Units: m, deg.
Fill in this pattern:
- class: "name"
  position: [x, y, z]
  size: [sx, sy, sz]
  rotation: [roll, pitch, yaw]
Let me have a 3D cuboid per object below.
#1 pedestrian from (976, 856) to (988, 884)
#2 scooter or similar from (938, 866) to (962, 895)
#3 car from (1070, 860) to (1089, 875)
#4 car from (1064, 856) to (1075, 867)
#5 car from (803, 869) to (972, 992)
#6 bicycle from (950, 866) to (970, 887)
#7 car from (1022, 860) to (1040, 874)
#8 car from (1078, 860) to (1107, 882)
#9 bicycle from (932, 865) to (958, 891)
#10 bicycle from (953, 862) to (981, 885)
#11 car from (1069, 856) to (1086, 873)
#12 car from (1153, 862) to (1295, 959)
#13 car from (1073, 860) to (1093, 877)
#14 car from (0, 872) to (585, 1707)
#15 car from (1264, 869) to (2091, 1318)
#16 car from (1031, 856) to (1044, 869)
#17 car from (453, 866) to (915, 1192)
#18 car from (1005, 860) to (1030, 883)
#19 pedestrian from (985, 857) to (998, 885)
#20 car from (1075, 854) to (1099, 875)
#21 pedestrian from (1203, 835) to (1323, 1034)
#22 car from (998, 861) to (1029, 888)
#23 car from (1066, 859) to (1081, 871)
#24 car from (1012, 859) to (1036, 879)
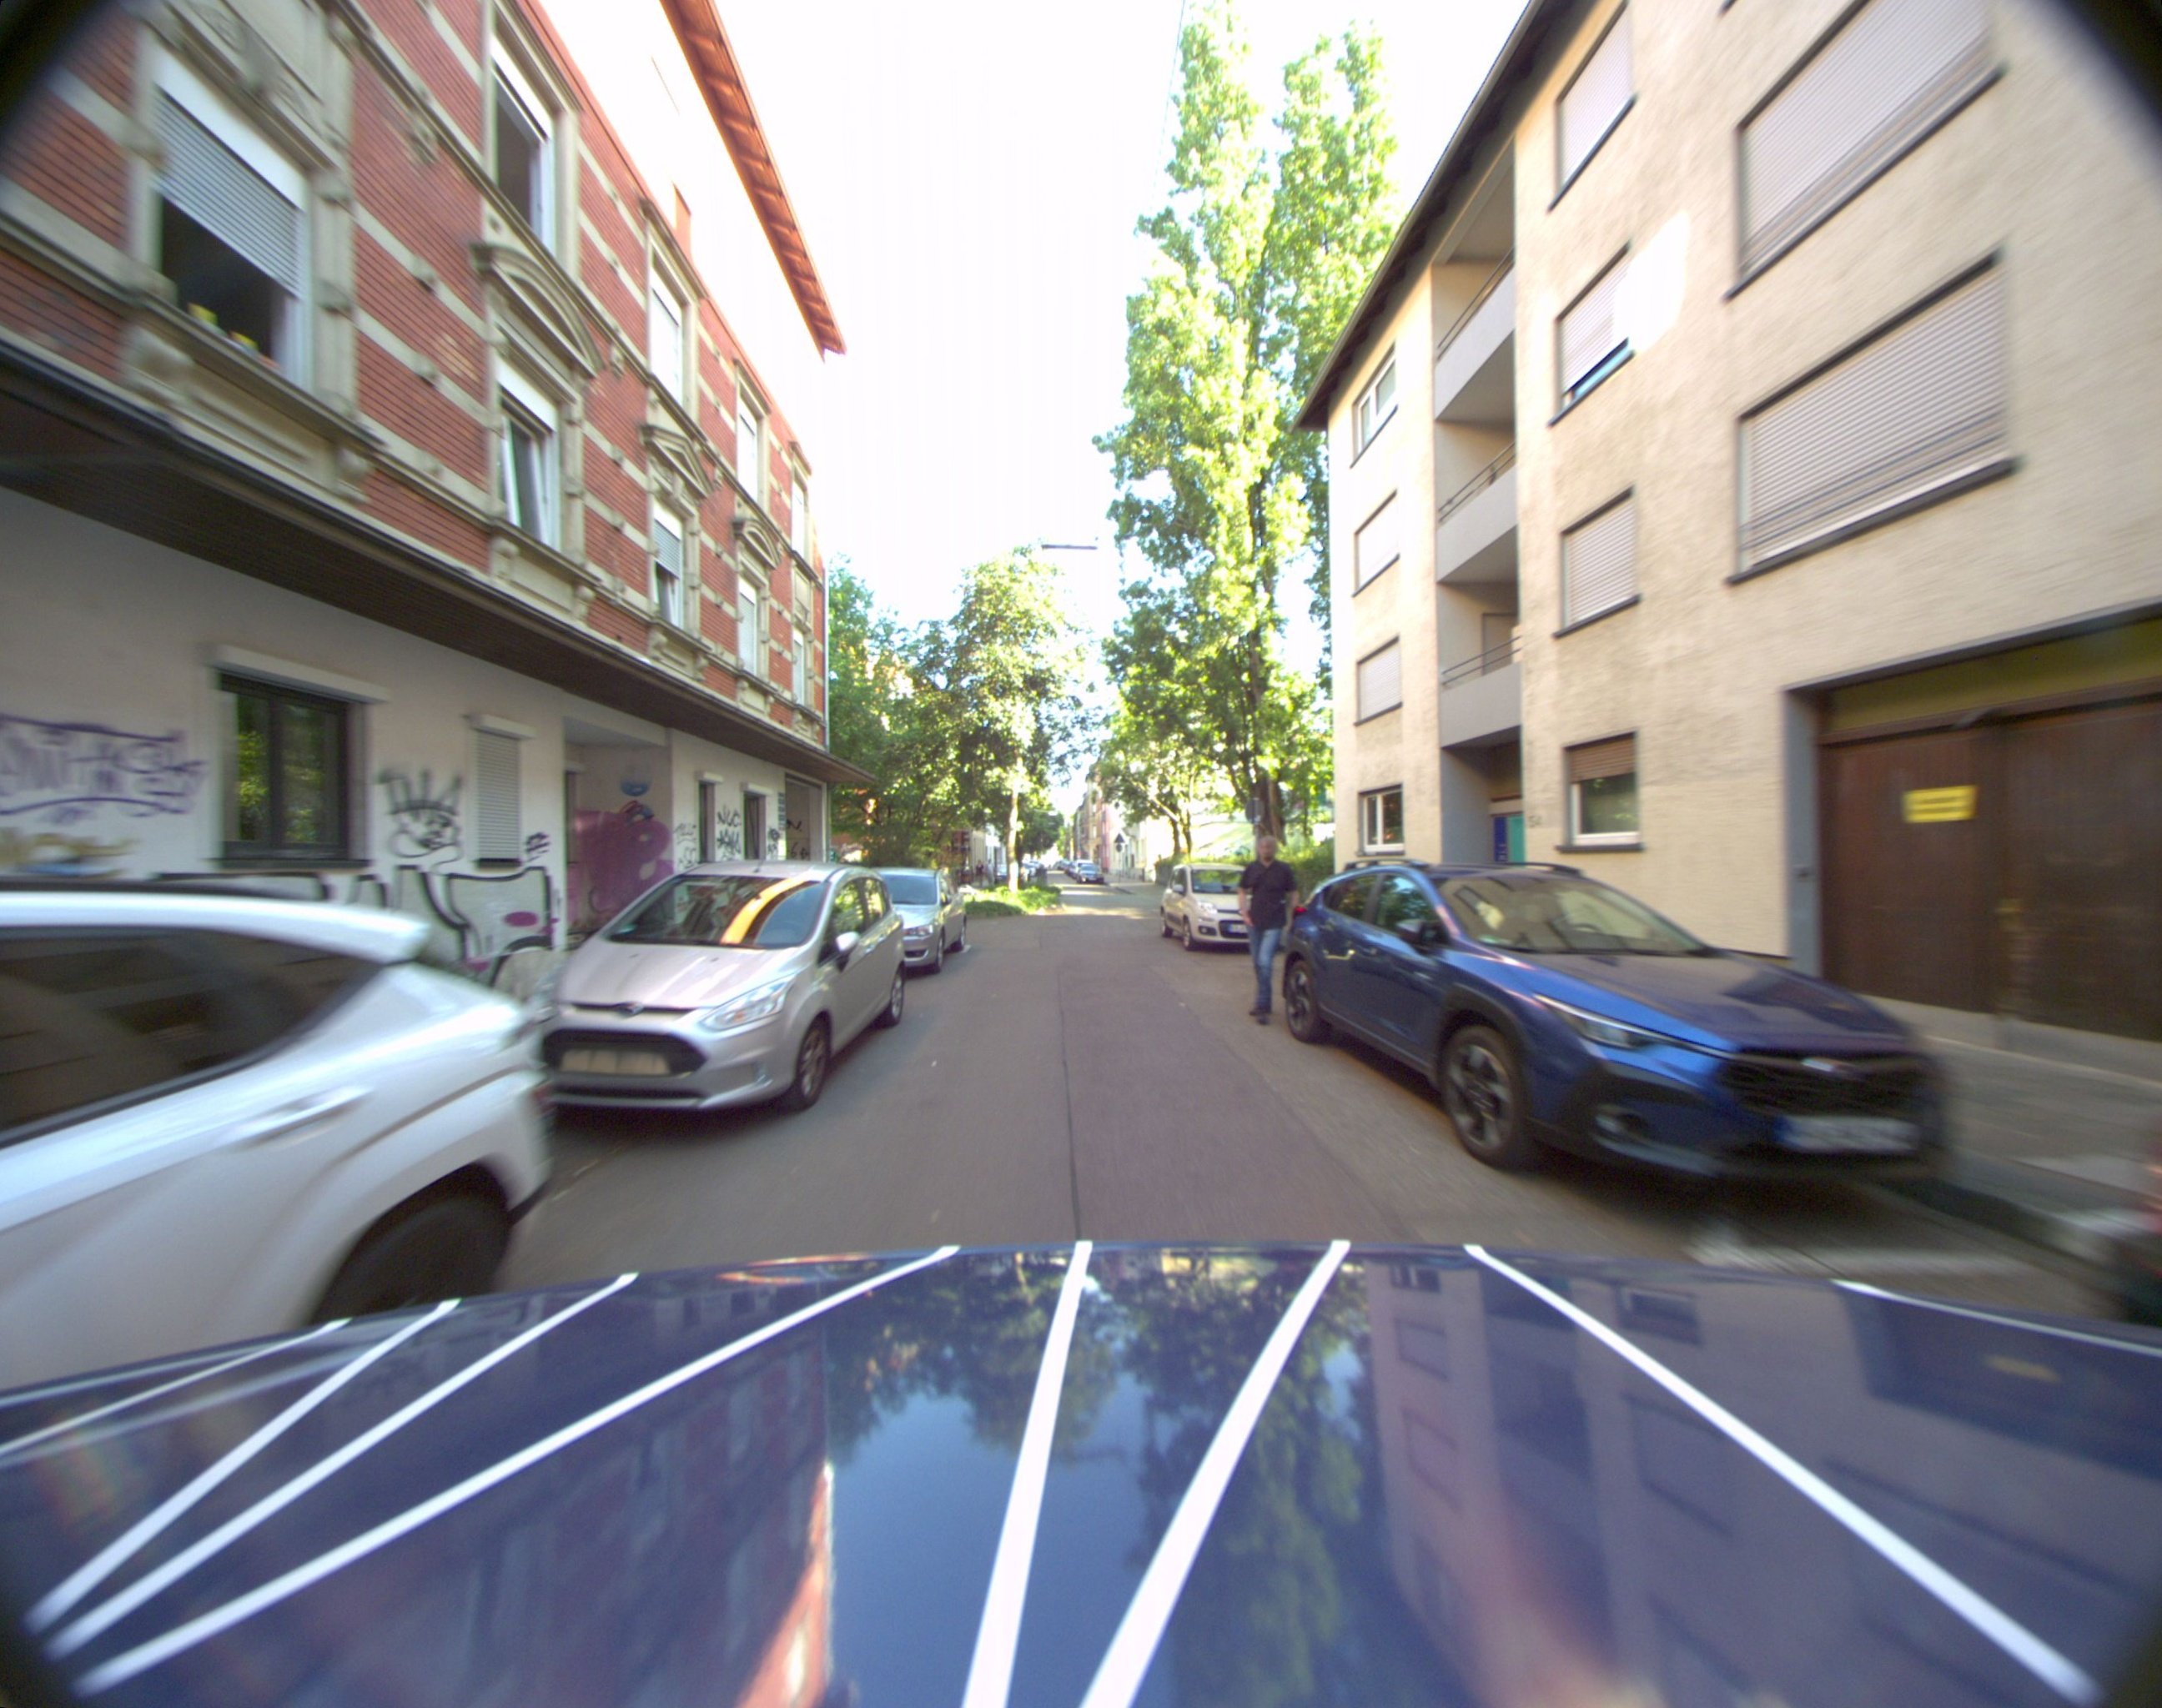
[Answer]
- class: "pedestrian"
  position: [-6.074, 0.995, 46.626]
  size: [0.599, 1.699, 0.706]
  rotation: [3, 0, -3]
- class: "scooter or similar"
  position: [-5.961, 1.178, 34.556]
  size: [0.547, 1.254, 1.469]
  rotation: [1, 0, -33]
- class: "car"
  position: [-0.179, 1.420, 82.252]
  size: [1.769, 1.463, 3.815]
  rotation: [2, 0, -2]
- class: "car"
  position: [-2.042, 1.333, 131.683]
  size: [1.769, 1.846, 3.992]
  rotation: [2, 0, -2]
- class: "car"
  position: [-2.843, 1.042, 12.135]
  size: [1.726, 1.553, 4.397]
  rotation: [-1, 0, -2]
- class: "bicycle"
  position: [-7.000, 1.301, 44.089]
  size: [0.849, 1.193, 1.982]
  rotation: [0, -1, 0]
- class: "car"
  position: [-5.489, 1.406, 83.597]
  size: [1.769, 1.508, 4.102]
  rotation: [2, 0, -2]
- class: "car"
  position: [0.796, 1.222, 54.778]
  size: [1.784, 1.435, 4.391]
  rotation: [2, 0, -2]
- class: "bicycle"
  position: [-6.880, 1.185, 38.595]
  size: [0.849, 1.260, 2.692]
  rotation: [0, -1, 0]
- class: "bicycle"
  position: [-7.003, 1.186, 46.735]
  size: [1.294, 1.294, 2.327]
  rotation: [2, 0, 1]
- class: "car"
  position: [-0.423, 1.159, 87.594]
  size: [1.769, 1.814, 4.102]
  rotation: [2, 0, -2]
- class: "car"
  position: [2.526, 0.951, 14.359]
  size: [1.680, 1.530, 3.867]
  rotation: [0, 0, -4]
- class: "car"
  position: [0.222, 1.354, 73.151]
  size: [1.674, 1.518, 4.086]
  rotation: [2, 0, 3]
- class: "car"
  position: [-2.633, 0.899, 0.557]
  size: [1.751, 1.666, 4.340]
  rotation: [0, 0, -1]
- class: "car"
  position: [2.749, 0.912, 4.971]
  size: [1.734, 1.530, 4.376]
  rotation: [1, 0, -4]
- class: "car"
  position: [-7.134, 1.385, 124.875]
  size: [1.866, 1.970, 4.481]
  rotation: [2, 0, 1]
- class: "car"
  position: [-2.517, 0.955, 5.962]
  size: [1.644, 1.646, 3.868]
  rotation: [-1, 0, -1]
- class: "car"
  position: [-4.693, 1.279, 56.529]
  size: [1.598, 1.576, 3.763]
  rotation: [1, 0, -2]
- class: "pedestrian"
  position: [-5.562, 1.050, 47.186]
  size: [0.712, 1.699, 0.752]
  rotation: [3, 0, -3]
- class: "car"
  position: [0.487, 0.940, 68.220]
  size: [1.754, 1.731, 4.313]
  rotation: [2, 0, -4]
- class: "pedestrian"
  position: [1.780, 0.740, 7.452]
  size: [0.912, 1.829, 0.671]
  rotation: [0, 0, -26]
- class: "car"
  position: [-4.087, 1.197, 46.206]
  size: [1.726, 1.485, 4.412]
  rotation: [2, 0, -4]
- class: "car"
  position: [-1.054, 1.505, 102.795]
  size: [1.769, 1.524, 4.102]
  rotation: [2, 0, -2]
- class: "car"
  position: [-4.871, 1.256, 65.674]
  size: [1.770, 1.657, 4.328]
  rotation: [0, 0, -1]
